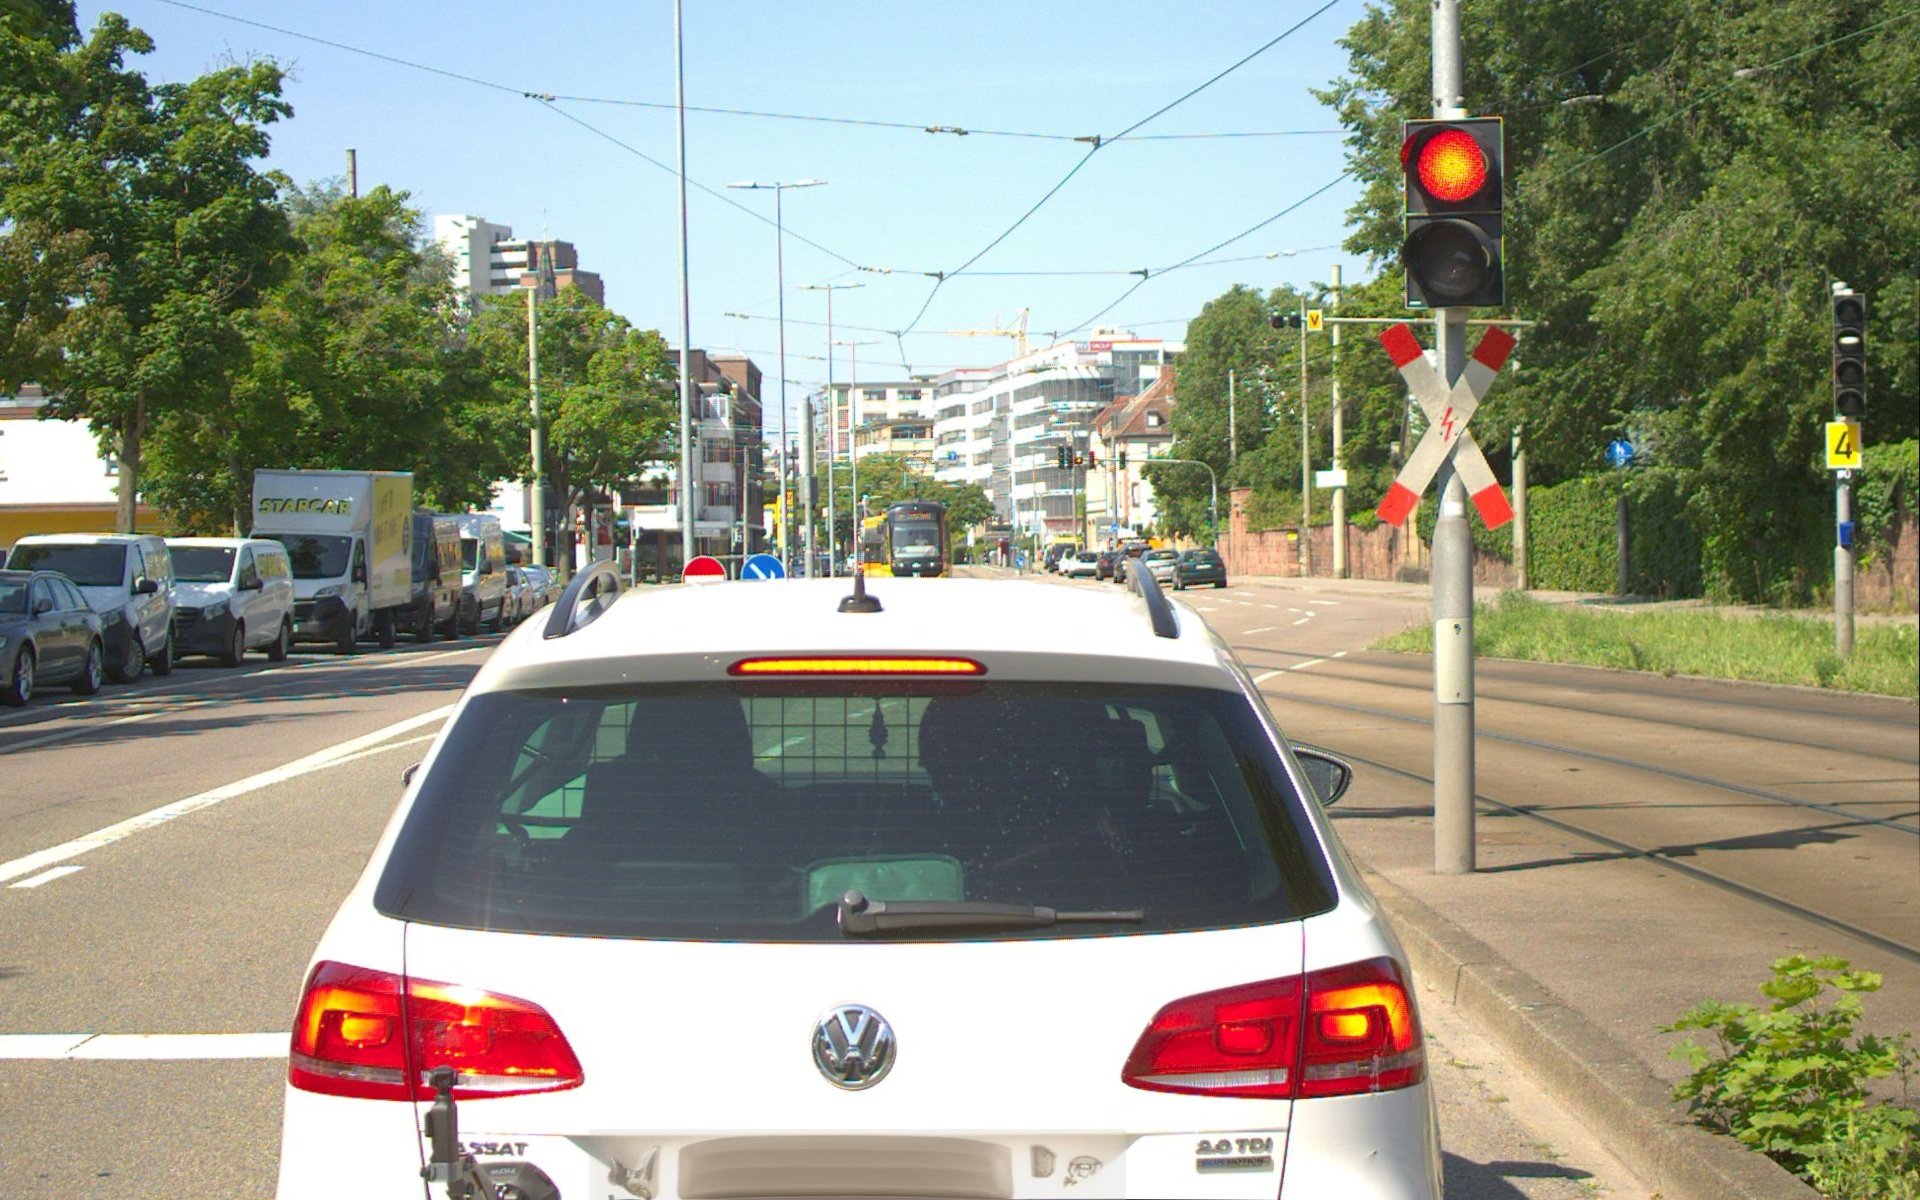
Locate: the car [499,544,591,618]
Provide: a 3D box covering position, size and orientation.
[{"bbox_3d":[-11.029,-0.532,91.693,1.863,1.861,5.414,1,1,-1],"label":"car"}]

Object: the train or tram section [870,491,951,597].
[{"bbox_3d":[-1.897,-2.170,132.329,2.870,3.842,12.392,-1,1,-1],"label":"train or tram section"}]

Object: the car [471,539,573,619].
[{"bbox_3d":[-10.777,-0.542,84.877,1.863,1.861,5.414,1,1,-1],"label":"car"}]

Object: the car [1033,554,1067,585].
[{"bbox_3d":[5.703,-1.953,218.017,1.863,1.861,5.062,1,1,-1],"label":"car"}]

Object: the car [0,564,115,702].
[{"bbox_3d":[-10.957,0.326,38.716,1.863,1.411,4.280,1,1,-1],"label":"car"}]

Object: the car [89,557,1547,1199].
[{"bbox_3d":[-0.185,0.670,6.207,1.762,1.425,4.000,-1,1,-1],"label":"car"}]

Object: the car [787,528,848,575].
[{"bbox_3d":[-4.650,-1.586,112.335,1.705,1.468,4.589,-2,1,1],"label":"car"}]

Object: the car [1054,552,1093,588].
[{"bbox_3d":[6.257,-1.663,189.873,1.863,1.861,5.062,1,1,-1],"label":"car"}]

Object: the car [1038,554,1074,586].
[{"bbox_3d":[5.723,-1.810,205.546,1.863,1.861,5.062,1,1,-1],"label":"car"}]

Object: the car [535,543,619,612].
[{"bbox_3d":[-10.950,-0.669,98.608,1.863,1.861,5.414,1,1,-1],"label":"car"}]

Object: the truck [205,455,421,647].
[{"bbox_3d":[-11.242,-0.873,60.323,2.421,3.139,6.997,1,1,0],"label":"truck"}]

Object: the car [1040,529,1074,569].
[{"bbox_3d":[6.848,-3.582,242.577,2.056,2.750,5.632,1,1,-1],"label":"car"}]

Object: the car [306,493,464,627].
[{"bbox_3d":[-11.364,-0.814,68.325,2.123,2.508,5.733,1,1,0],"label":"car"}]

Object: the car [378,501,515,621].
[{"bbox_3d":[-11.252,-0.885,75.762,2.123,2.508,5.733,1,1,0],"label":"car"}]

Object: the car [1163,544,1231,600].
[{"bbox_3d":[8.235,-1.005,119.893,1.863,1.861,5.062,1,1,-1],"label":"car"}]

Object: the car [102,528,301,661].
[{"bbox_3d":[-11.374,-0.128,51.910,1.863,1.861,5.414,1,1,-1],"label":"car"}]

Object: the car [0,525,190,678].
[{"bbox_3d":[-11.397,-0.030,45.218,1.863,1.861,5.075,1,1,-6],"label":"car"}]

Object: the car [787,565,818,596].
[{"bbox_3d":[-9.896,-1.242,216.683,1.762,1.889,4.914,1,1,-1],"label":"car"}]

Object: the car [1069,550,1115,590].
[{"bbox_3d":[6.373,-1.454,166.480,1.863,1.861,5.062,1,1,-1],"label":"car"}]

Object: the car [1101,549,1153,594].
[{"bbox_3d":[7.267,-1.264,149.771,1.863,1.861,5.062,1,1,-1],"label":"car"}]

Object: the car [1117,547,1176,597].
[{"bbox_3d":[7.233,-1.091,133.513,1.863,1.861,5.062,1,1,-1],"label":"car"}]
